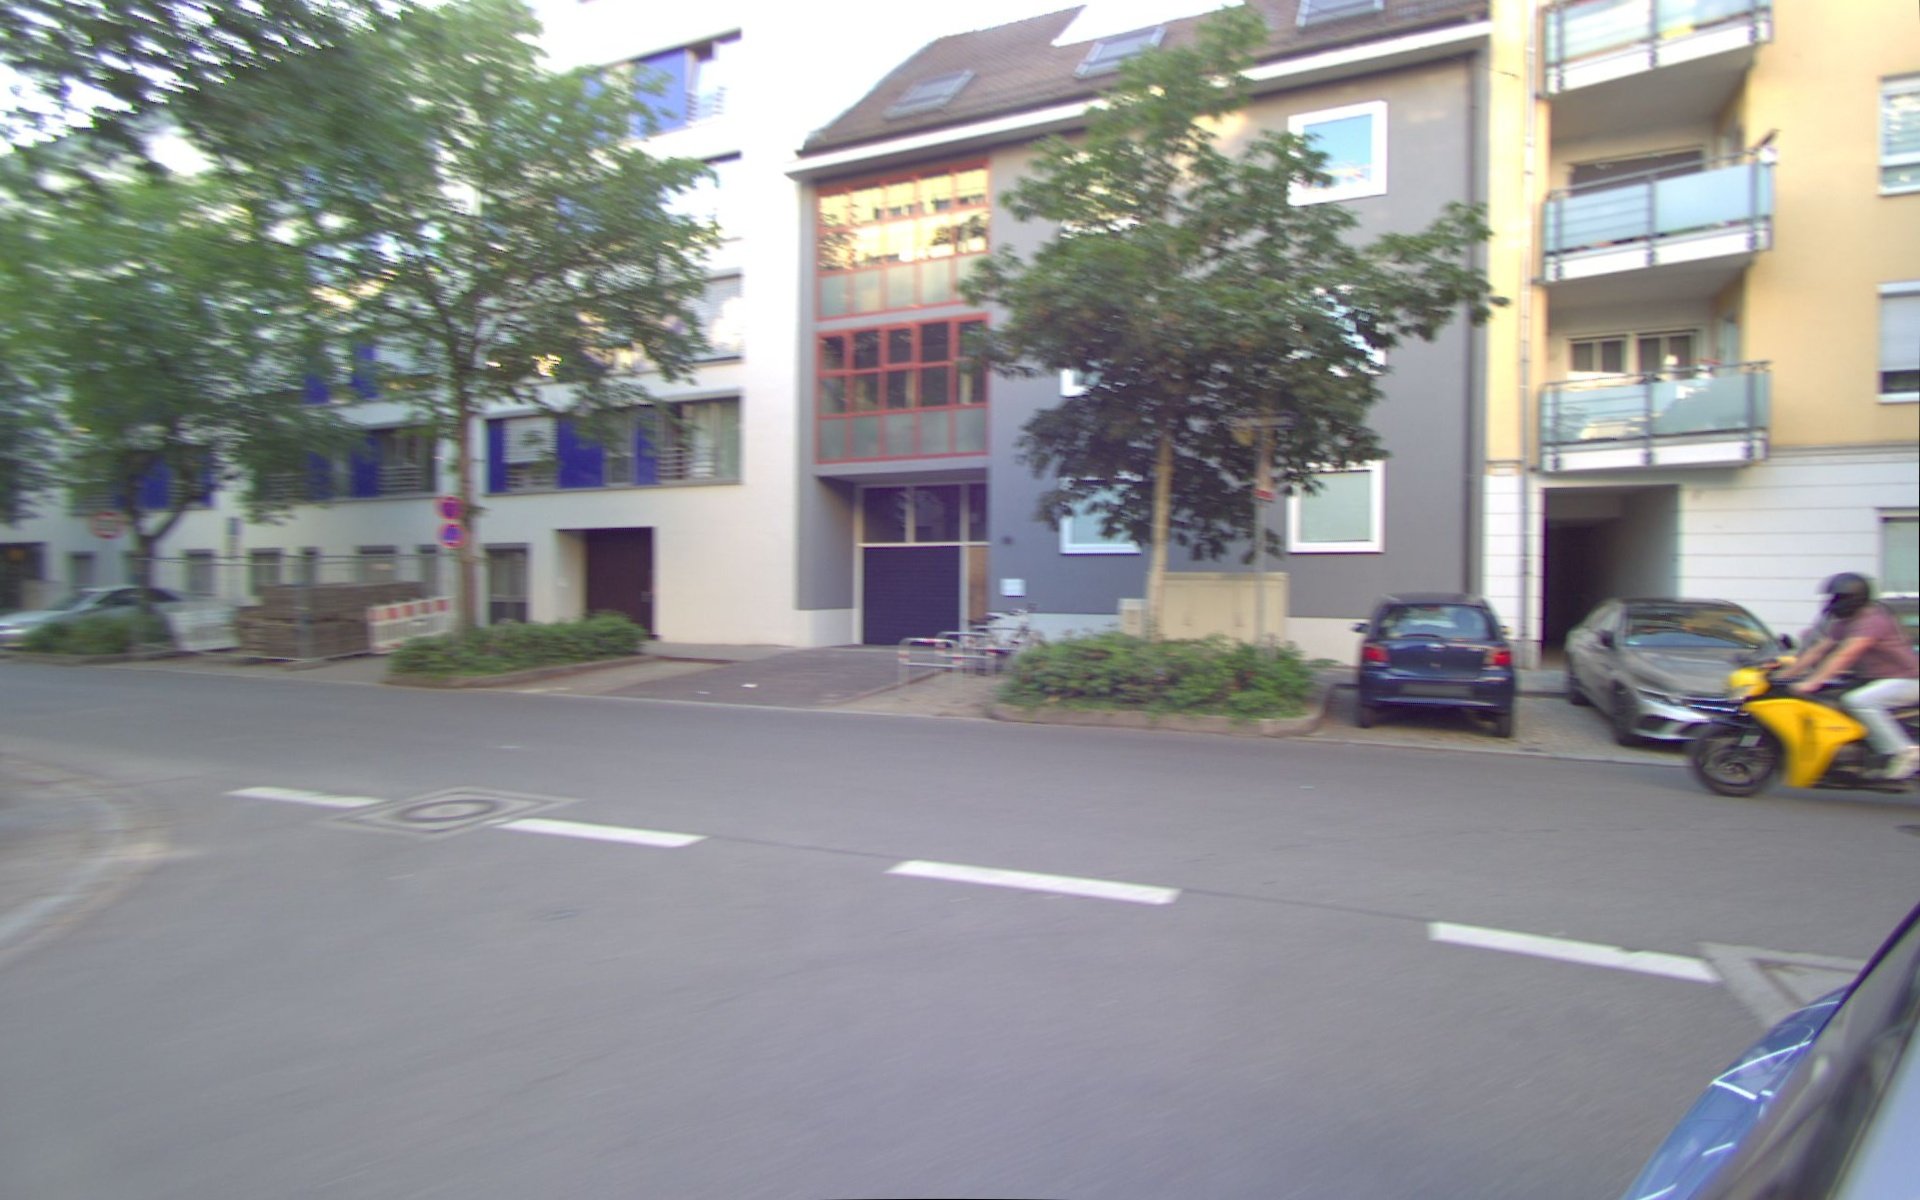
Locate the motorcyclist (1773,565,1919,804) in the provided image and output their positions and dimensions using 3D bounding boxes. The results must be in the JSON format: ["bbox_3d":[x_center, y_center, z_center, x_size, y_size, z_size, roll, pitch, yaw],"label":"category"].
[{"bbox_3d":[6.565,0.572,7.298,0.904,1.634,0.717,0,0,21],"label":"motorcyclist"}]

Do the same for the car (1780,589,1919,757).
[{"bbox_3d":[10.357,0.679,10.395,1.831,1.583,4.052,0,1,21],"label":"car"}]

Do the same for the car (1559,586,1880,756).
[{"bbox_3d":[8.209,0.611,11.431,1.850,1.527,4.262,0,1,22],"label":"car"}]

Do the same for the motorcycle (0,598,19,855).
[{"bbox_3d":[-5.534,0.730,4.643,0.785,1.459,2.384,0,0,-16],"label":"motorcycle"}]

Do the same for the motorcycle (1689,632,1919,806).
[{"bbox_3d":[6.628,0.837,7.301,2.083,1.136,0.731,0,0,21],"label":"motorcycle"}]

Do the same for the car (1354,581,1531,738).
[{"bbox_3d":[5.865,0.586,12.490,1.727,1.544,3.336,0,3,24],"label":"car"}]

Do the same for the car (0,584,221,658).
[{"bbox_3d":[-20.886,0.427,24.702,1.612,1.611,4.413,0,1,25],"label":"car"}]

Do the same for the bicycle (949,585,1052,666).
[{"bbox_3d":[0.663,0.387,16.318,1.484,1.185,0.723,0,5,25],"label":"bicycle"}]
